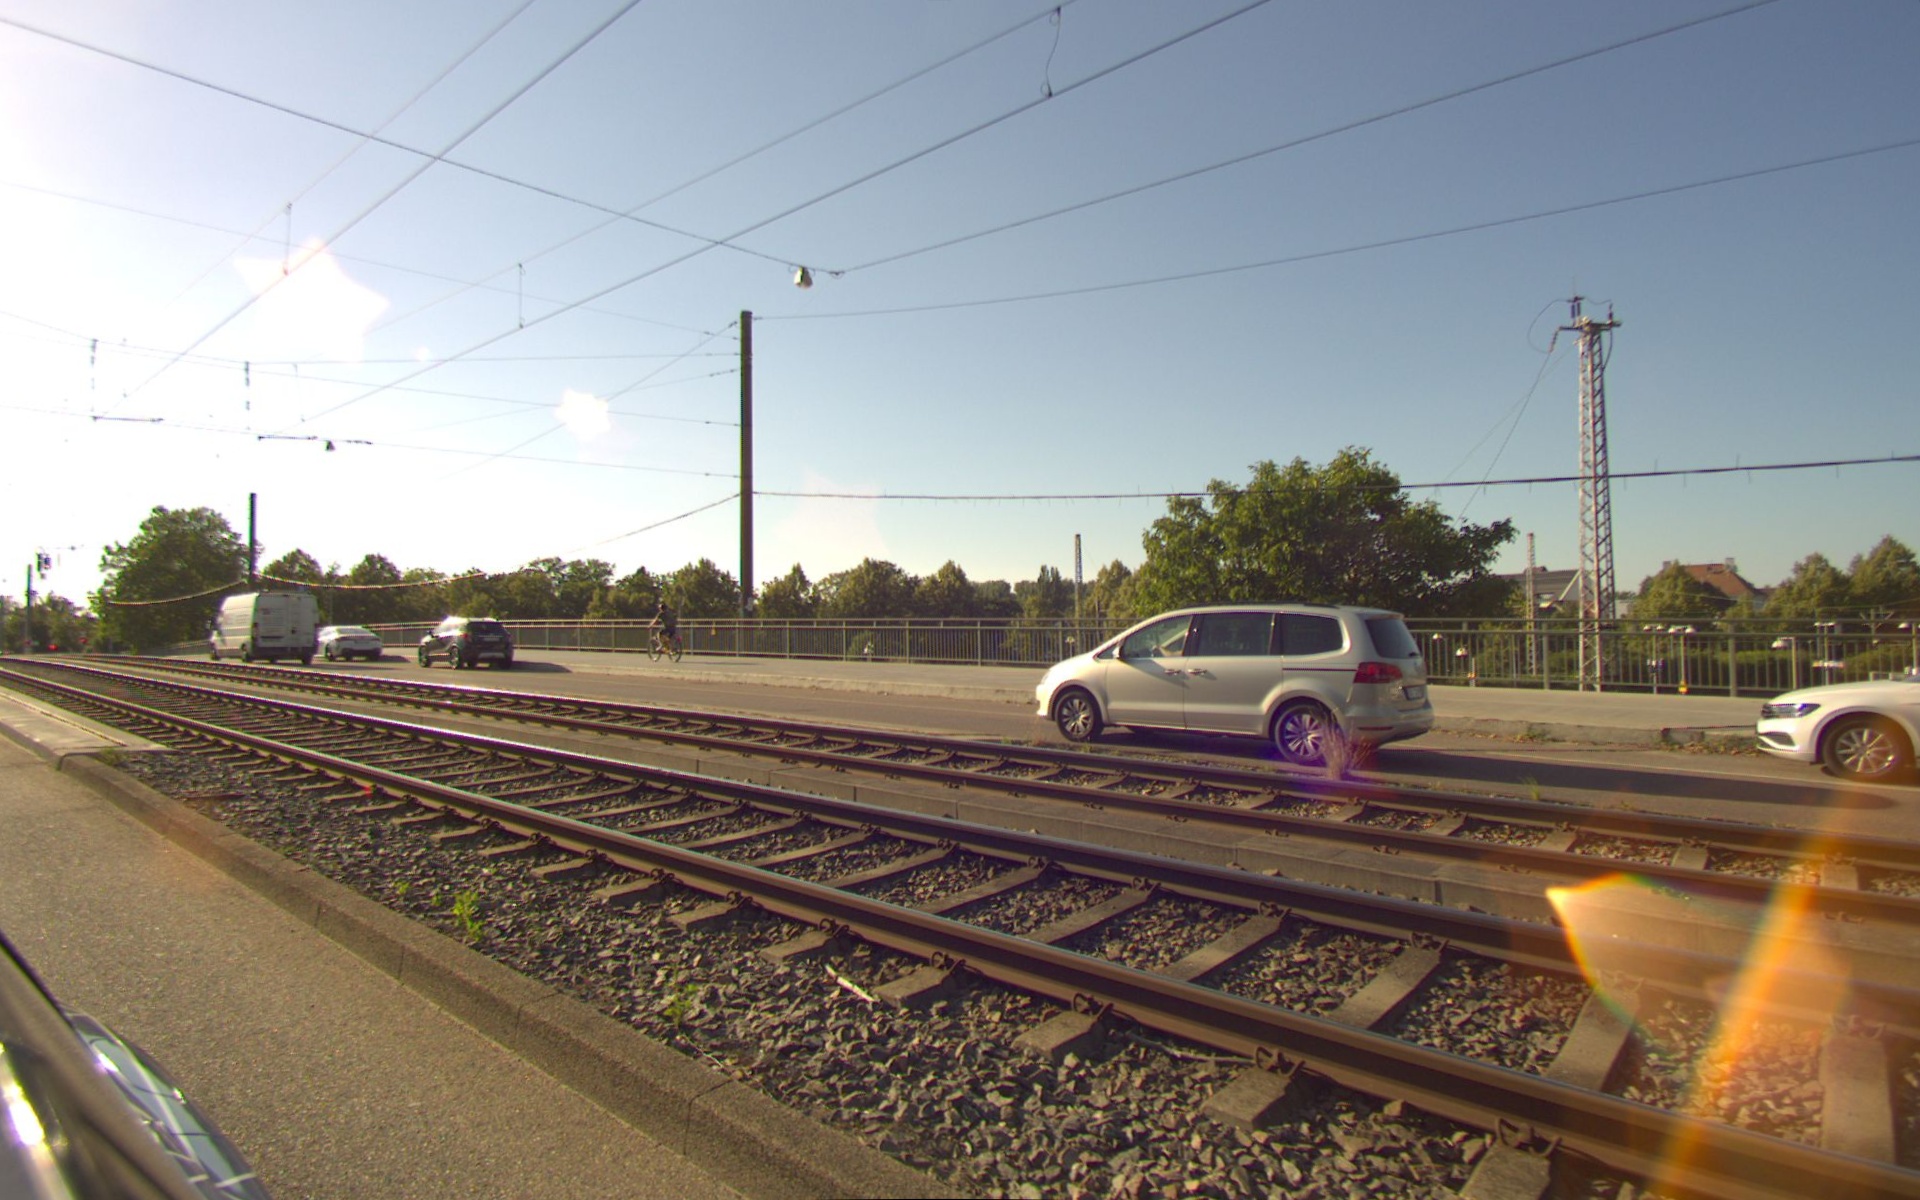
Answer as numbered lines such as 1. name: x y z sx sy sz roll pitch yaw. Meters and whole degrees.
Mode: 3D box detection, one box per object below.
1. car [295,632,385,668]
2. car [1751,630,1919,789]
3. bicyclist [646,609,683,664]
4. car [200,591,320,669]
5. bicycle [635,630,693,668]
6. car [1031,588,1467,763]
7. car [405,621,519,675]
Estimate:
1. car: -25.248 2.006 41.140 4.917 1.367 1.666 -2 -4 41
2. car: 10.586 1.021 9.460 4.952 1.475 1.724 -2 -2 40
3. bicyclist: -9.023 1.120 30.936 0.889 1.639 0.672 -2 0 42
4. car: -25.353 1.111 36.564 6.036 2.613 2.065 -2 -2 40
5. bicycle: -9.090 1.492 31.006 2.099 1.106 0.672 -2 0 42
6. car: 3.210 0.817 11.917 4.595 1.678 1.853 -2 -4 42
7. car: -16.521 1.613 33.503 4.444 1.663 1.761 -3 -5 41
